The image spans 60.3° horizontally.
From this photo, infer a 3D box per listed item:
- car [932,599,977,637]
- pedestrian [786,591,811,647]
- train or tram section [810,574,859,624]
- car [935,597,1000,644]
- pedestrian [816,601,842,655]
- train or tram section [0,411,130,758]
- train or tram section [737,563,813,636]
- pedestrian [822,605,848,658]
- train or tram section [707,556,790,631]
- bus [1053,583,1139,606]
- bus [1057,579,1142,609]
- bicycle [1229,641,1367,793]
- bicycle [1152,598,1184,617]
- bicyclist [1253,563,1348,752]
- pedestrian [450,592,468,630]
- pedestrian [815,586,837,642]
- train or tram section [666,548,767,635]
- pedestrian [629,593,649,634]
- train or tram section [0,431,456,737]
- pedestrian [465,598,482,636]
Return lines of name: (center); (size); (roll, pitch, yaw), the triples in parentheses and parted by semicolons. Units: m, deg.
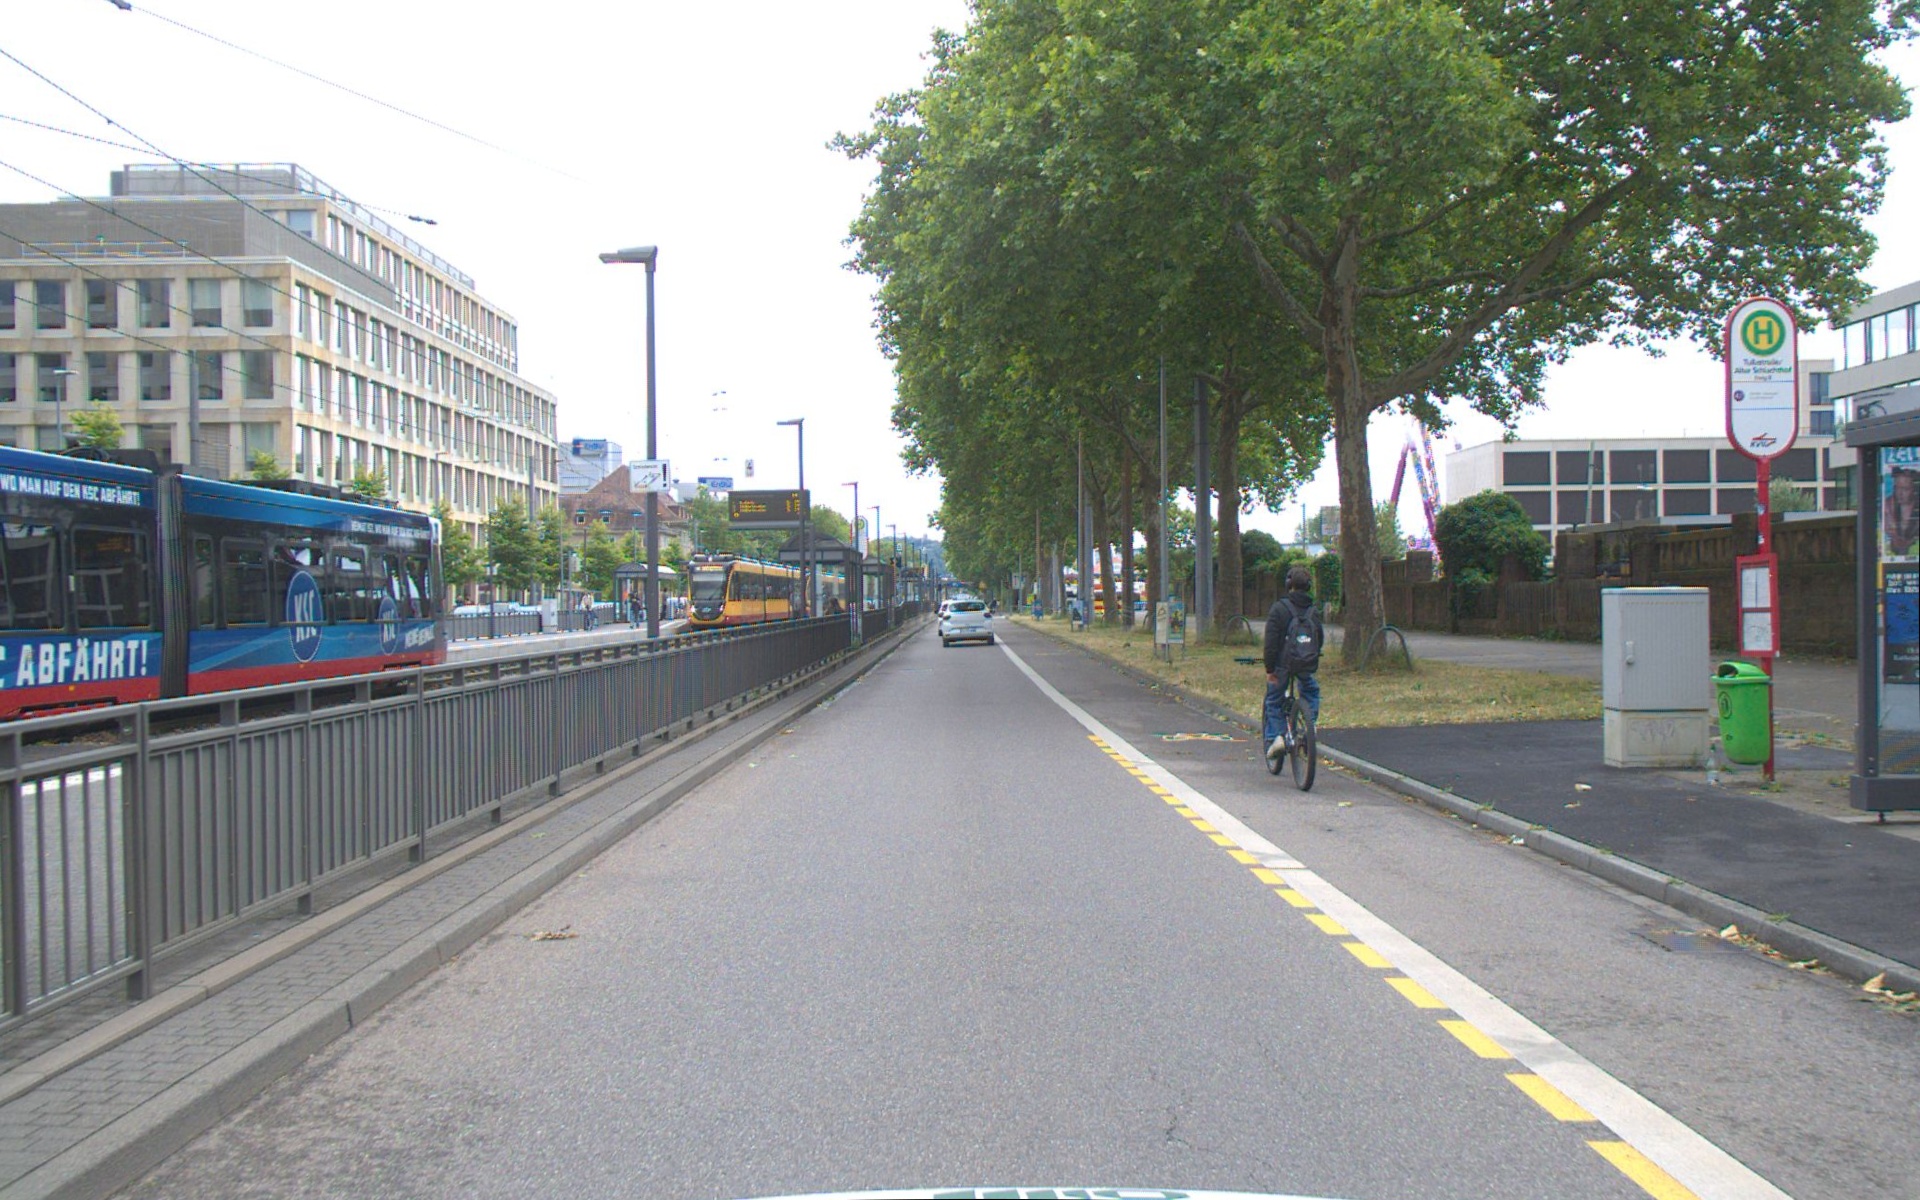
car: (-0.227, 0.779, 72.995); (1.803, 1.579, 4.001); (-2, 0, 1)
pedestrian: (-5.326, 0.638, 54.527); (0.658, 1.825, 1.109); (-1, -1, -13)
train or tram section: (-11.182, -0.018, 149.260); (3.115, 4.252, 14.733); (-1, -1, 0)
car: (0.284, 0.686, 55.612); (1.845, 1.478, 4.002); (-1, -1, 5)
pedestrian: (-3.360, 0.714, 42.451); (0.598, 1.364, 0.600); (-1, -1, 0)
train or tram section: (-11.596, -0.181, 14.575); (2.796, 3.704, 11.697); (-1, -1, -1)
train or tram section: (-11.685, 0.050, 105.742); (3.115, 4.252, 13.620); (-1, -1, 0)
pedestrian: (-3.308, 0.828, 43.735); (0.598, 1.396, 0.600); (-1, -1, 0)
train or tram section: (-11.772, -0.283, 93.148); (3.098, 3.929, 11.311); (-1, -1, 0)
bus: (14.691, -0.551, 178.739); (9.091, 2.266, 1.999); (-1, -1, -3)
bus: (15.329, -0.658, 181.882); (9.091, 3.012, 1.999); (-1, -1, -3)
bicycle: (2.883, 0.958, 14.343); (0.639, 1.170, 2.282); (-1, -1, -2)
bicycle: (13.128, 0.478, 104.433); (1.852, 1.124, 0.549); (-3, -1, -2)
bicyclist: (2.893, 0.479, 14.090); (0.628, 1.557, 0.664); (-1, -1, -2)
pedestrian: (-27.230, 0.619, 89.911); (0.698, 2.049, 0.725); (-1, -1, 0)
pedestrian: (-4.480, 0.473, 55.247); (0.657, 1.825, 1.111); (-1, -1, -8)
train or tram section: (-11.863, -0.325, 81.837); (3.171, 3.929, 11.311); (-1, -1, 0)
pedestrian: (-14.814, 0.627, 76.373); (0.697, 1.827, 1.160); (-1, -1, -1)
train or tram section: (-11.696, -0.113, 27.211); (2.796, 3.757, 13.517); (-1, -1, -1)
pedestrian: (-26.774, 0.933, 90.951); (0.698, 2.049, 0.725); (-1, -1, -1)
